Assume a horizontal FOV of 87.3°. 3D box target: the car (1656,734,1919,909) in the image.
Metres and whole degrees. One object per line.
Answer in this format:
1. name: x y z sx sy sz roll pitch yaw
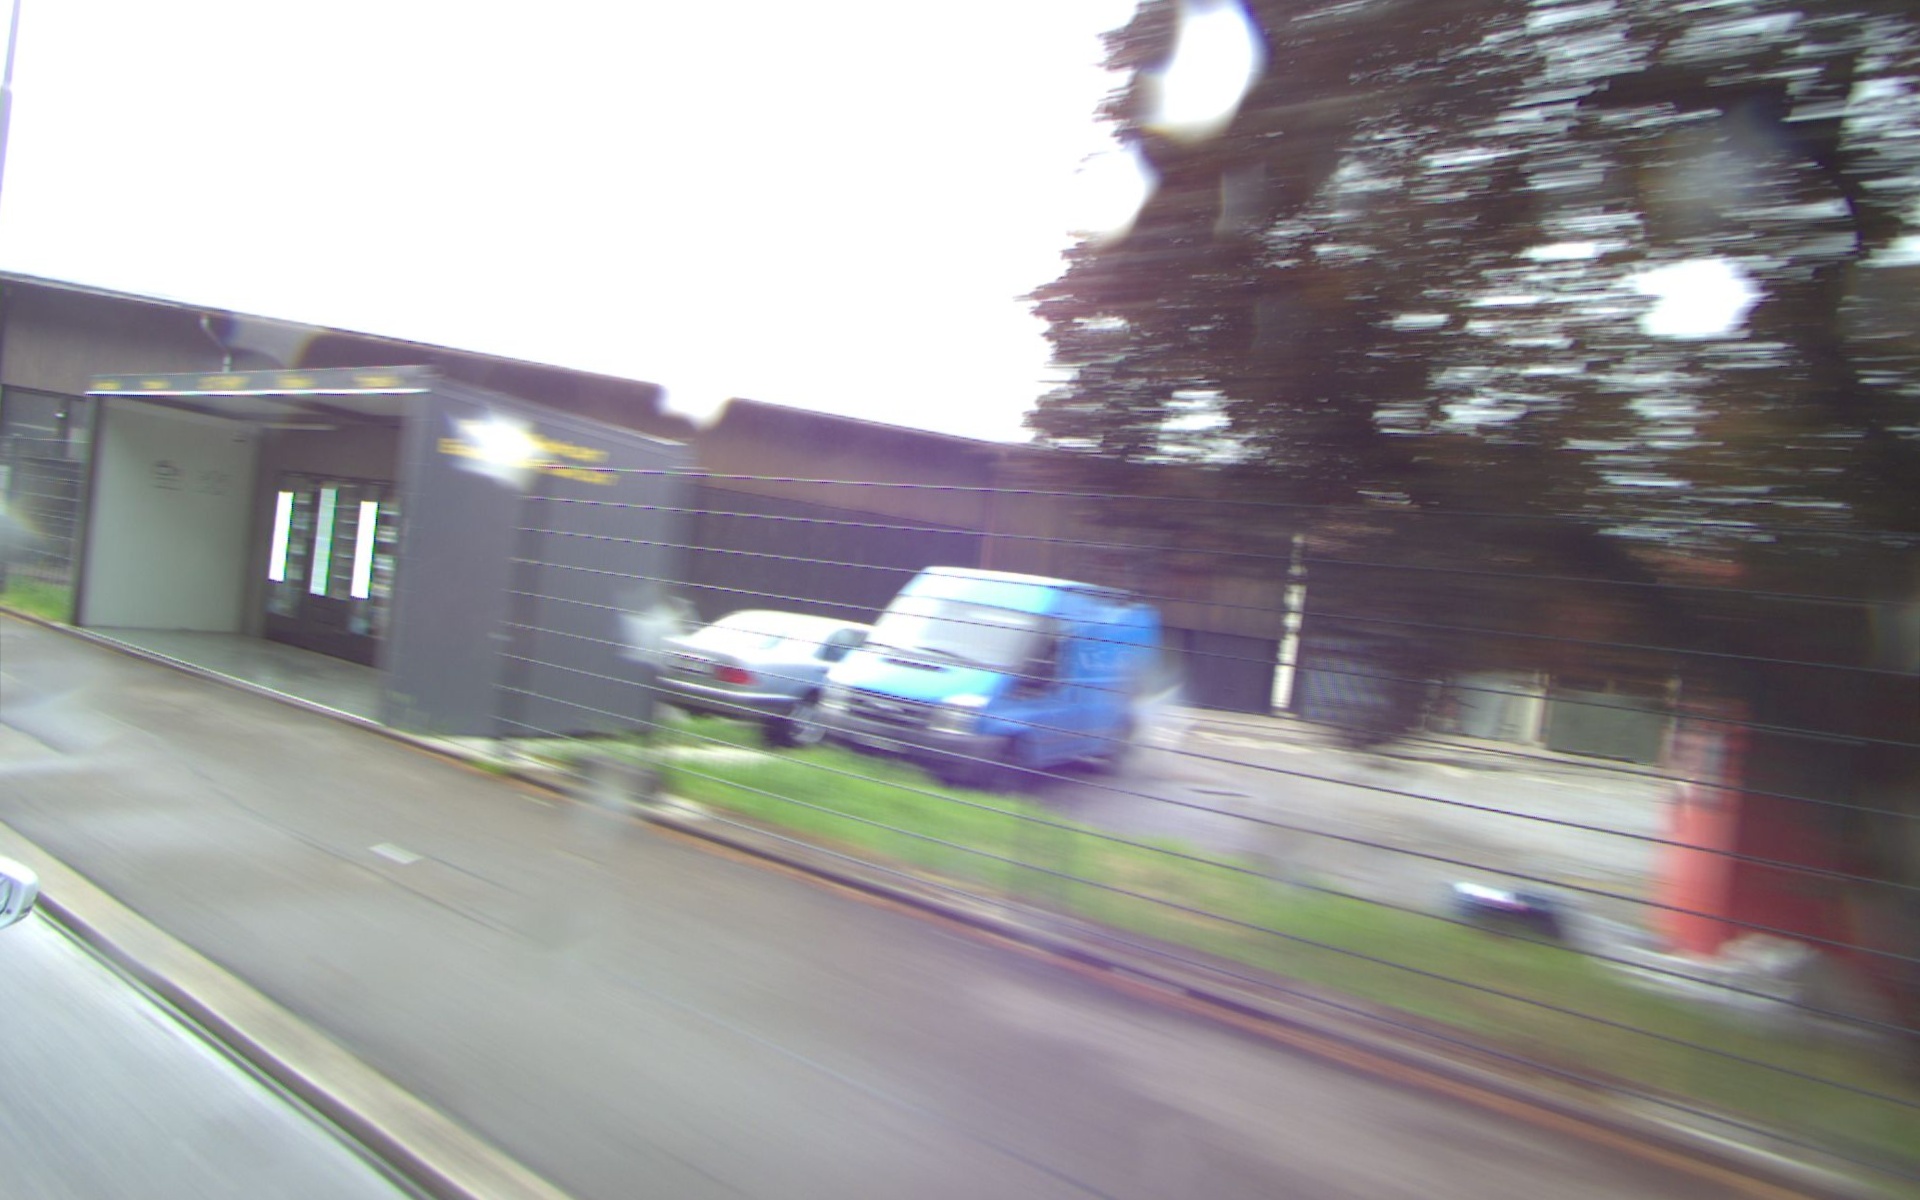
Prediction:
1. car: 10.781 2.741 13.364 1.768 1.440 4.367 7 -1 27

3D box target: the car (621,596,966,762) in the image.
1. car: -1.825 0.979 12.566 1.764 1.549 4.387 6 -2 30

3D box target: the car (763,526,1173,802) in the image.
1. car: 0.479 0.767 11.471 1.966 2.236 5.580 7 -2 30
